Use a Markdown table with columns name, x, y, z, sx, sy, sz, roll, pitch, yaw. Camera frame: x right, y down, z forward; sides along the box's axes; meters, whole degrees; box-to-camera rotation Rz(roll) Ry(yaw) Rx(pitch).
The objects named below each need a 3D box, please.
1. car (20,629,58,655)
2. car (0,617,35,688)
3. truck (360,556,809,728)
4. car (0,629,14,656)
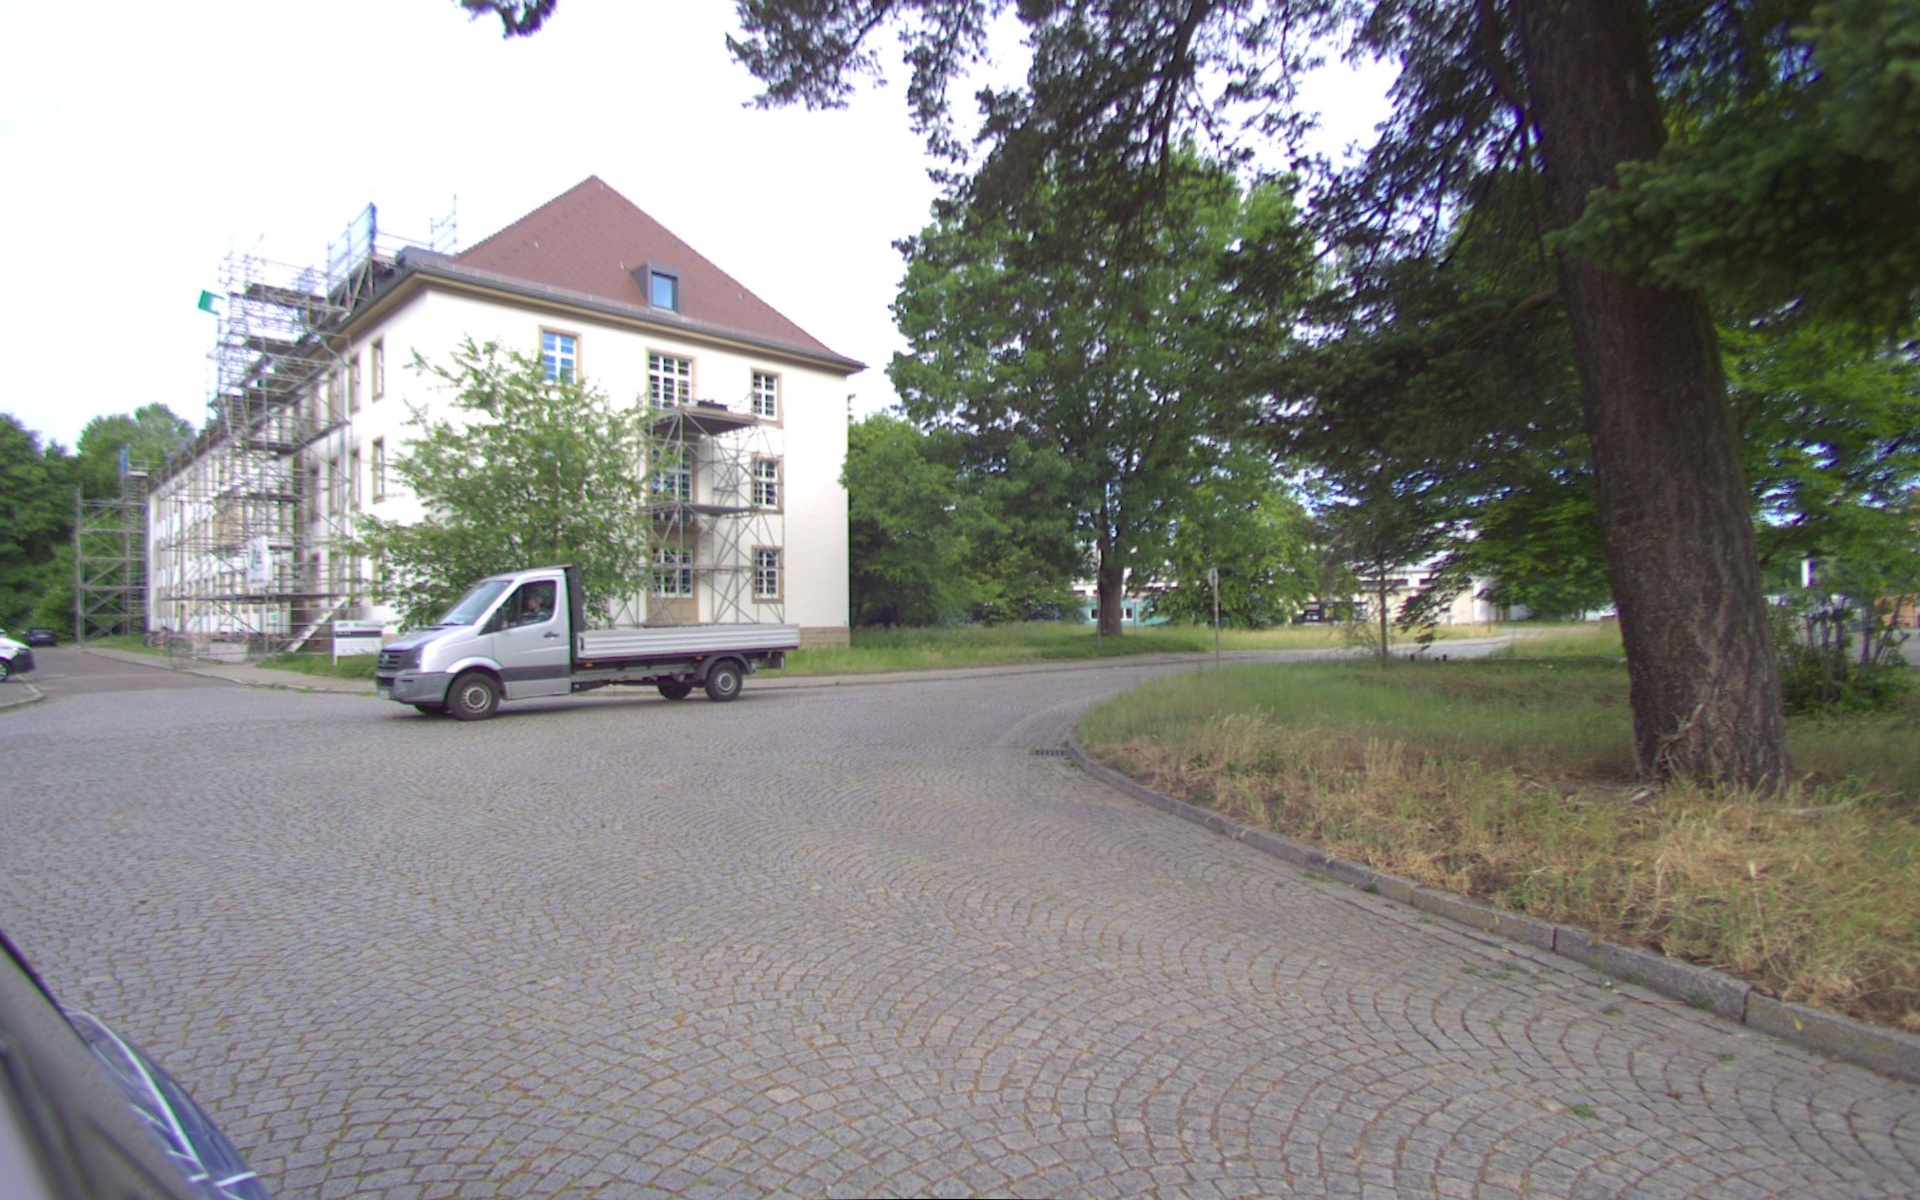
| name | x | y | z | sx | sy | sz | roll | pitch | yaw |
| --- | --- | --- | --- | --- | --- | --- | --- | --- | --- |
| car | -72.258 | 3.258 | 79.387 | 4.262 | 2.029 | 1.935 | -2 | -2 | 44 |
| car | -29.372 | 1.498 | 28.298 | 2.001 | 2.029 | 5.077 | -2 | -2 | 45 |
| truck | -6.022 | 0.647 | 17.257 | 1.994 | 2.384 | 6.984 | -4 | -3 | 45 |
| car | -73.852 | 3.242 | 77.440 | 4.262 | 2.029 | 1.935 | -2 | -2 | 44 |
